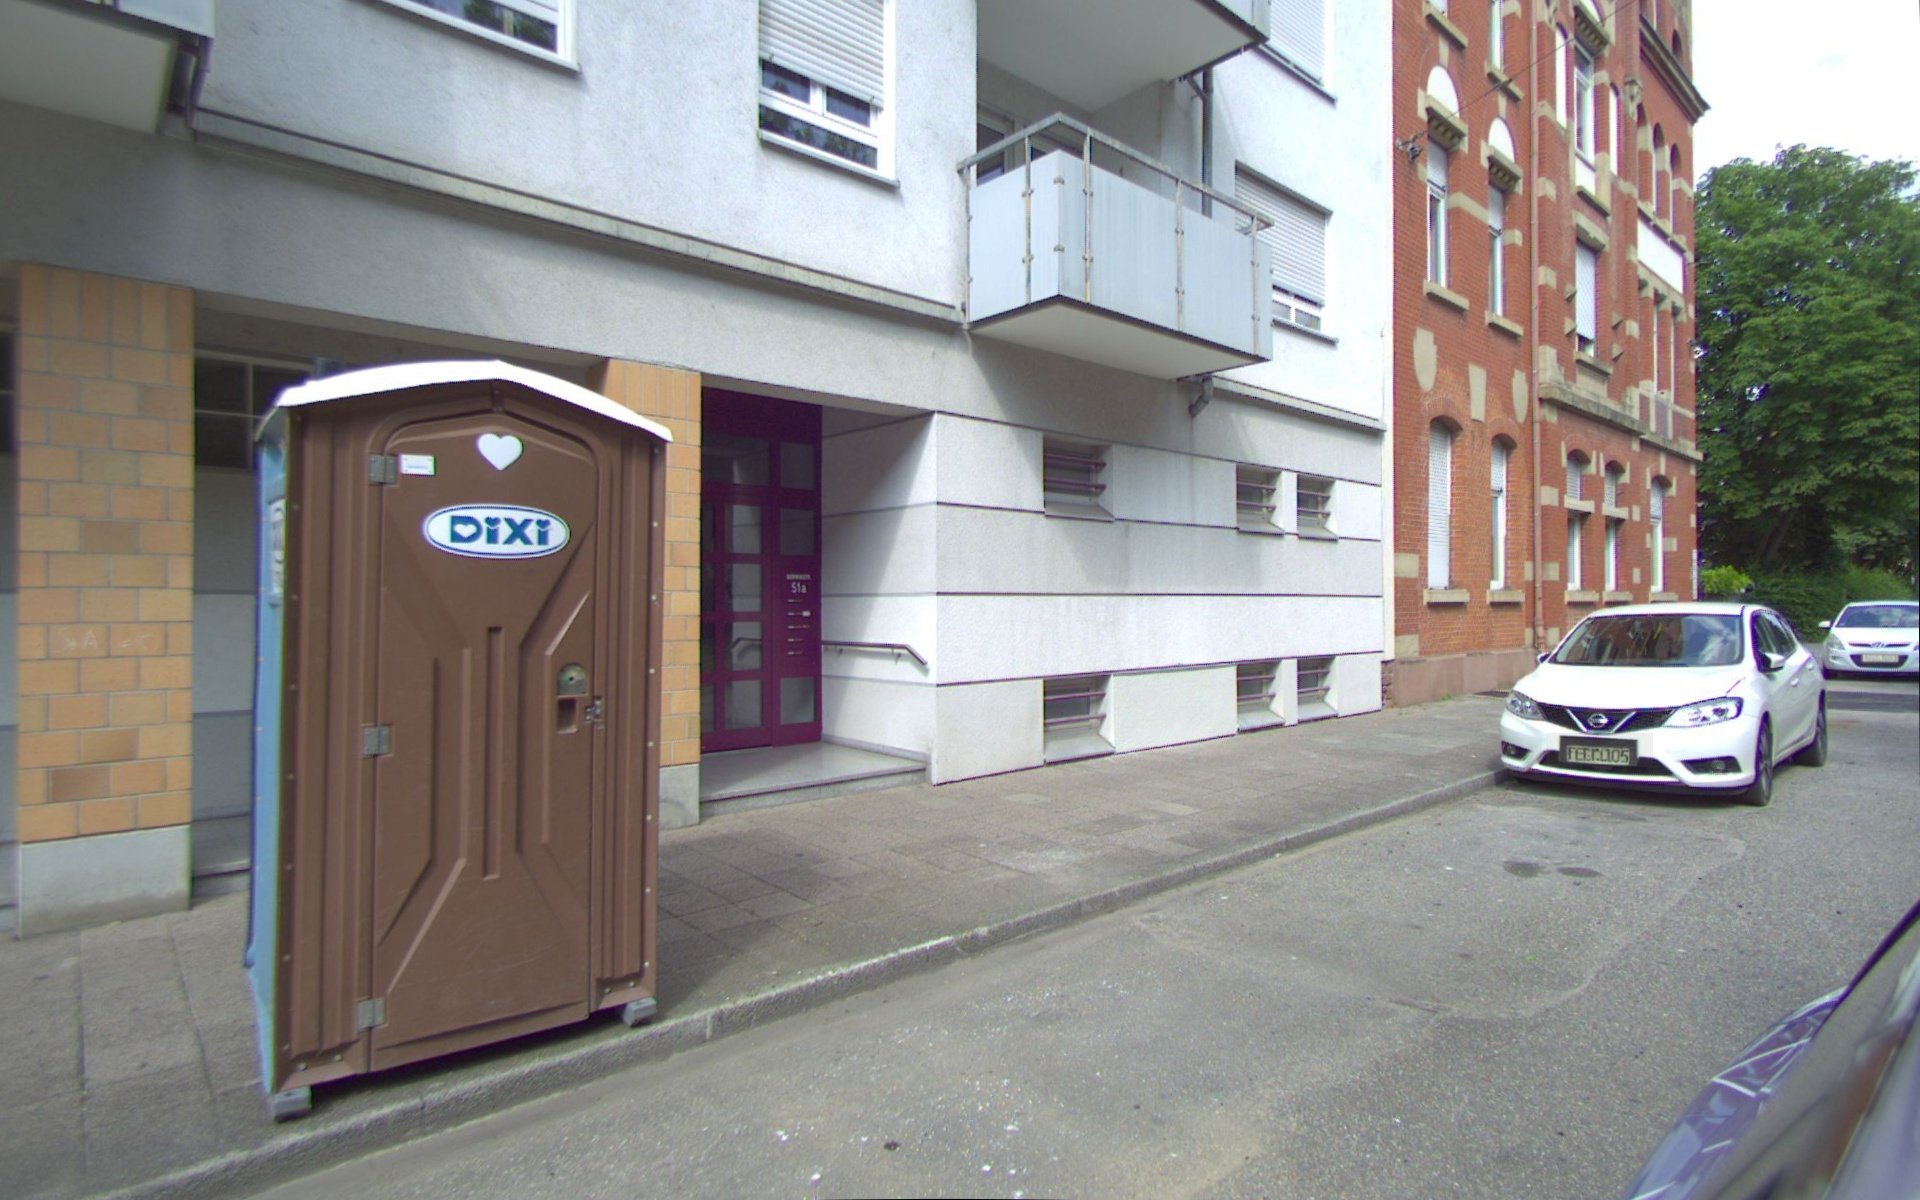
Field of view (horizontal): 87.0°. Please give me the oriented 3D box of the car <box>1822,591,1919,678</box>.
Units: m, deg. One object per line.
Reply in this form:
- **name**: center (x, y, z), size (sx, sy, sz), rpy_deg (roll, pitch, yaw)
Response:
- **car**: center (18.193, 0.612, 19.567), size (3.971, 1.549, 1.799), rpy_deg (0, -1, -42)

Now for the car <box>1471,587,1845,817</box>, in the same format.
- **car**: center (6.215, 0.698, 8.839), size (3.971, 1.549, 1.799), rpy_deg (0, -1, -42)
